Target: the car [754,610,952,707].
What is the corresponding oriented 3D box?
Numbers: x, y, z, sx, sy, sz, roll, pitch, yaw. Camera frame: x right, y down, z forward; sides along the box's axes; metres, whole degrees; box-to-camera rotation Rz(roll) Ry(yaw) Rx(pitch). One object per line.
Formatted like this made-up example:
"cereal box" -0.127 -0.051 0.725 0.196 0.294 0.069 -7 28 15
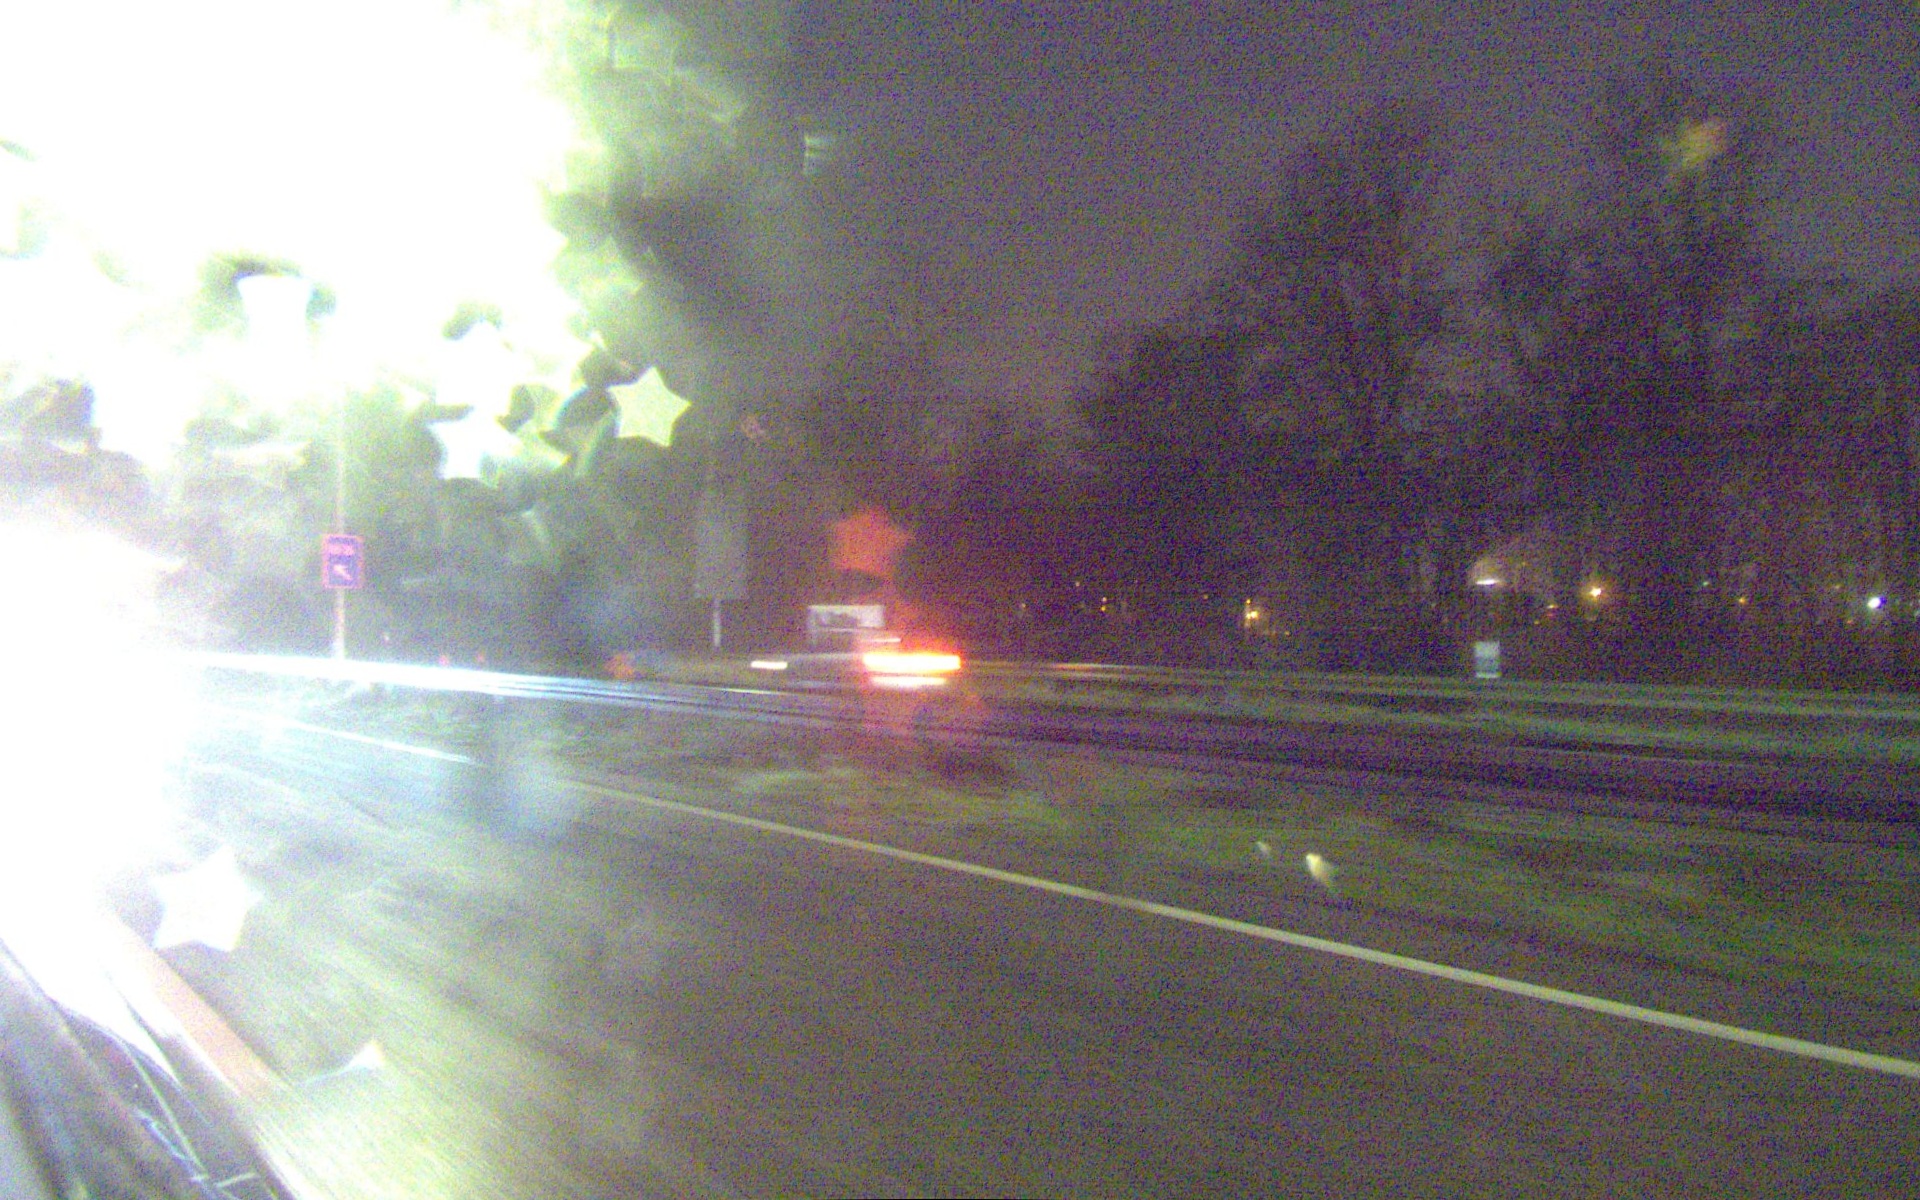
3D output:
"car" -2.096 1.025 19.265 3.833 1.563 1.583 0 2 42
